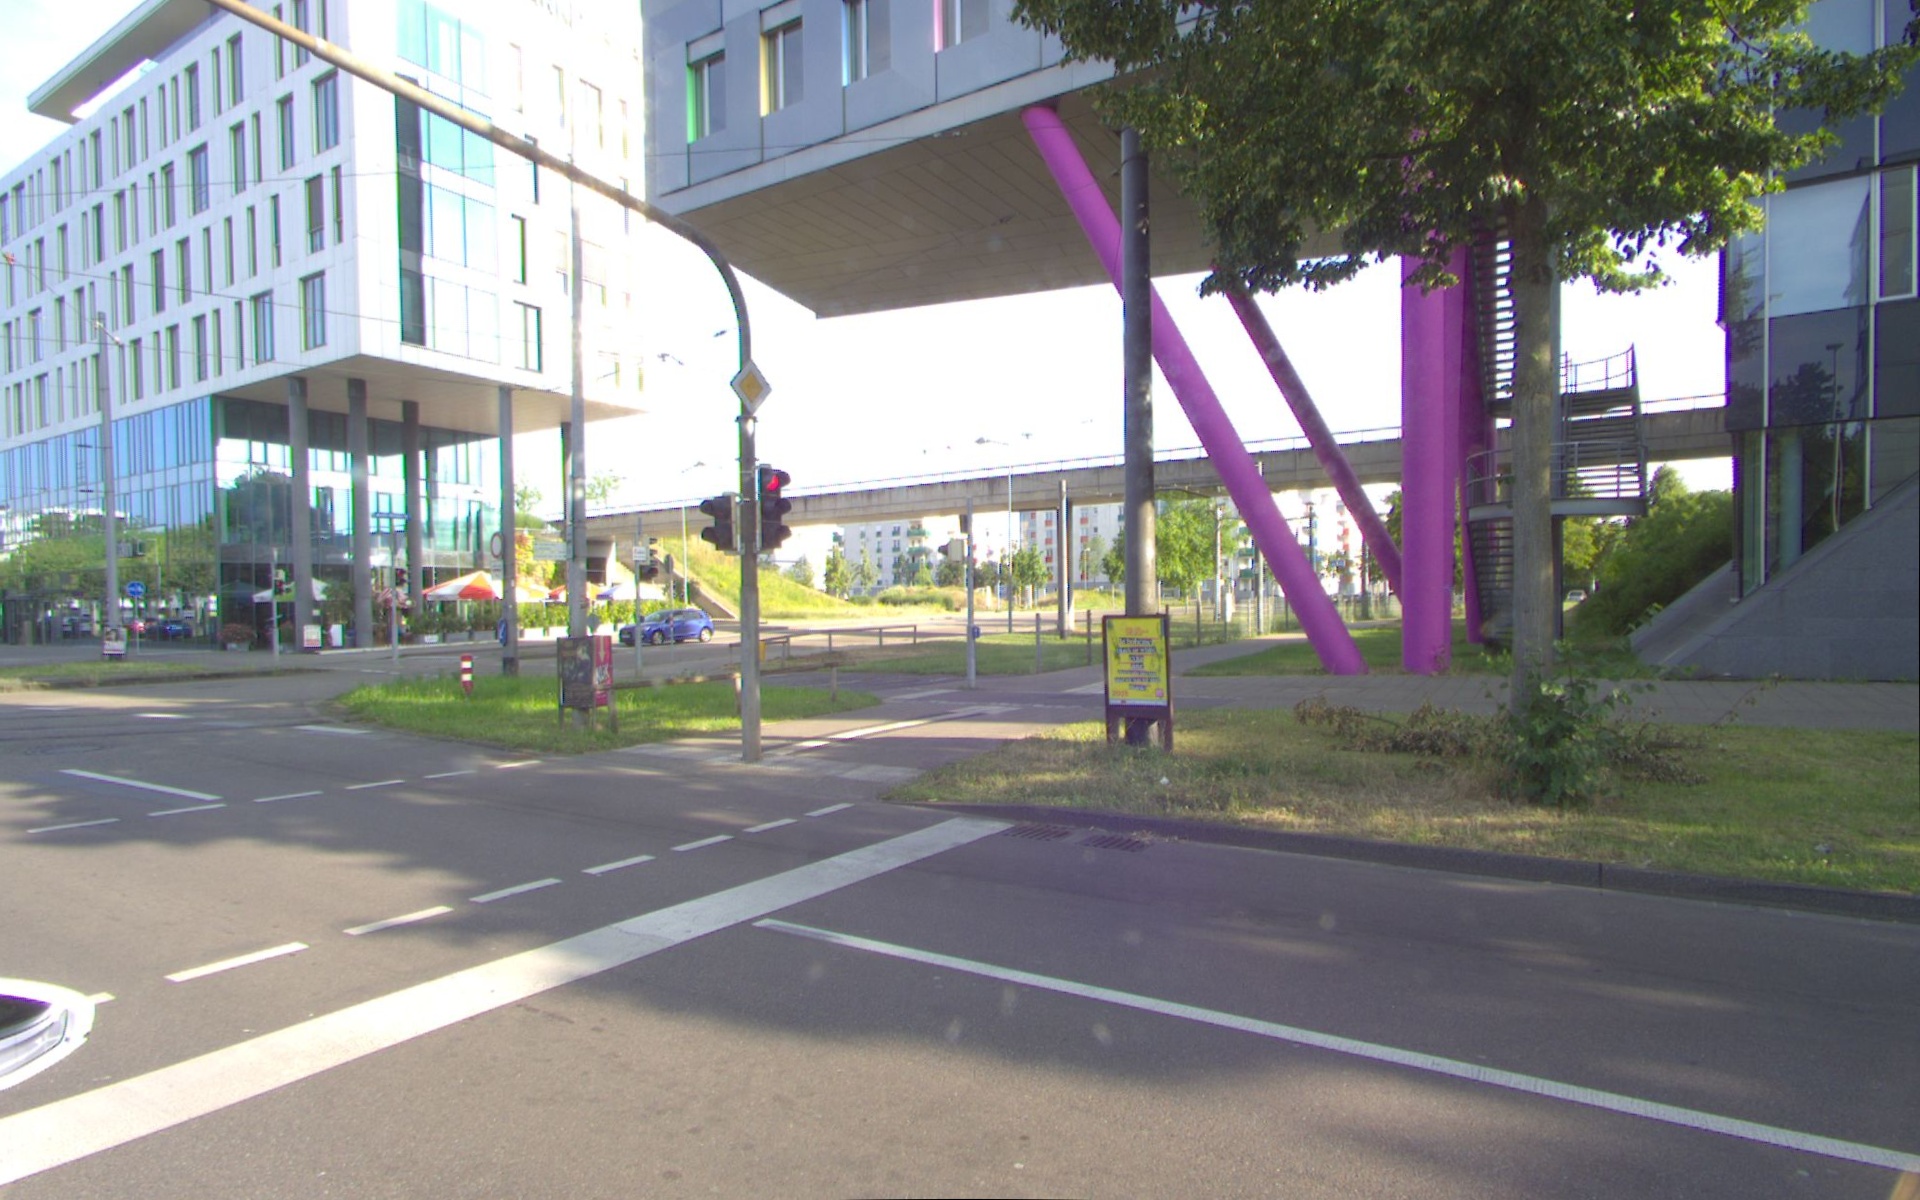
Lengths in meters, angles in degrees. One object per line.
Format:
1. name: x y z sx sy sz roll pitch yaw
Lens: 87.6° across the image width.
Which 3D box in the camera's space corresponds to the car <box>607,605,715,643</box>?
1. car: -12.461 0.949 41.946 1.832 1.443 4.176 0 1 31
